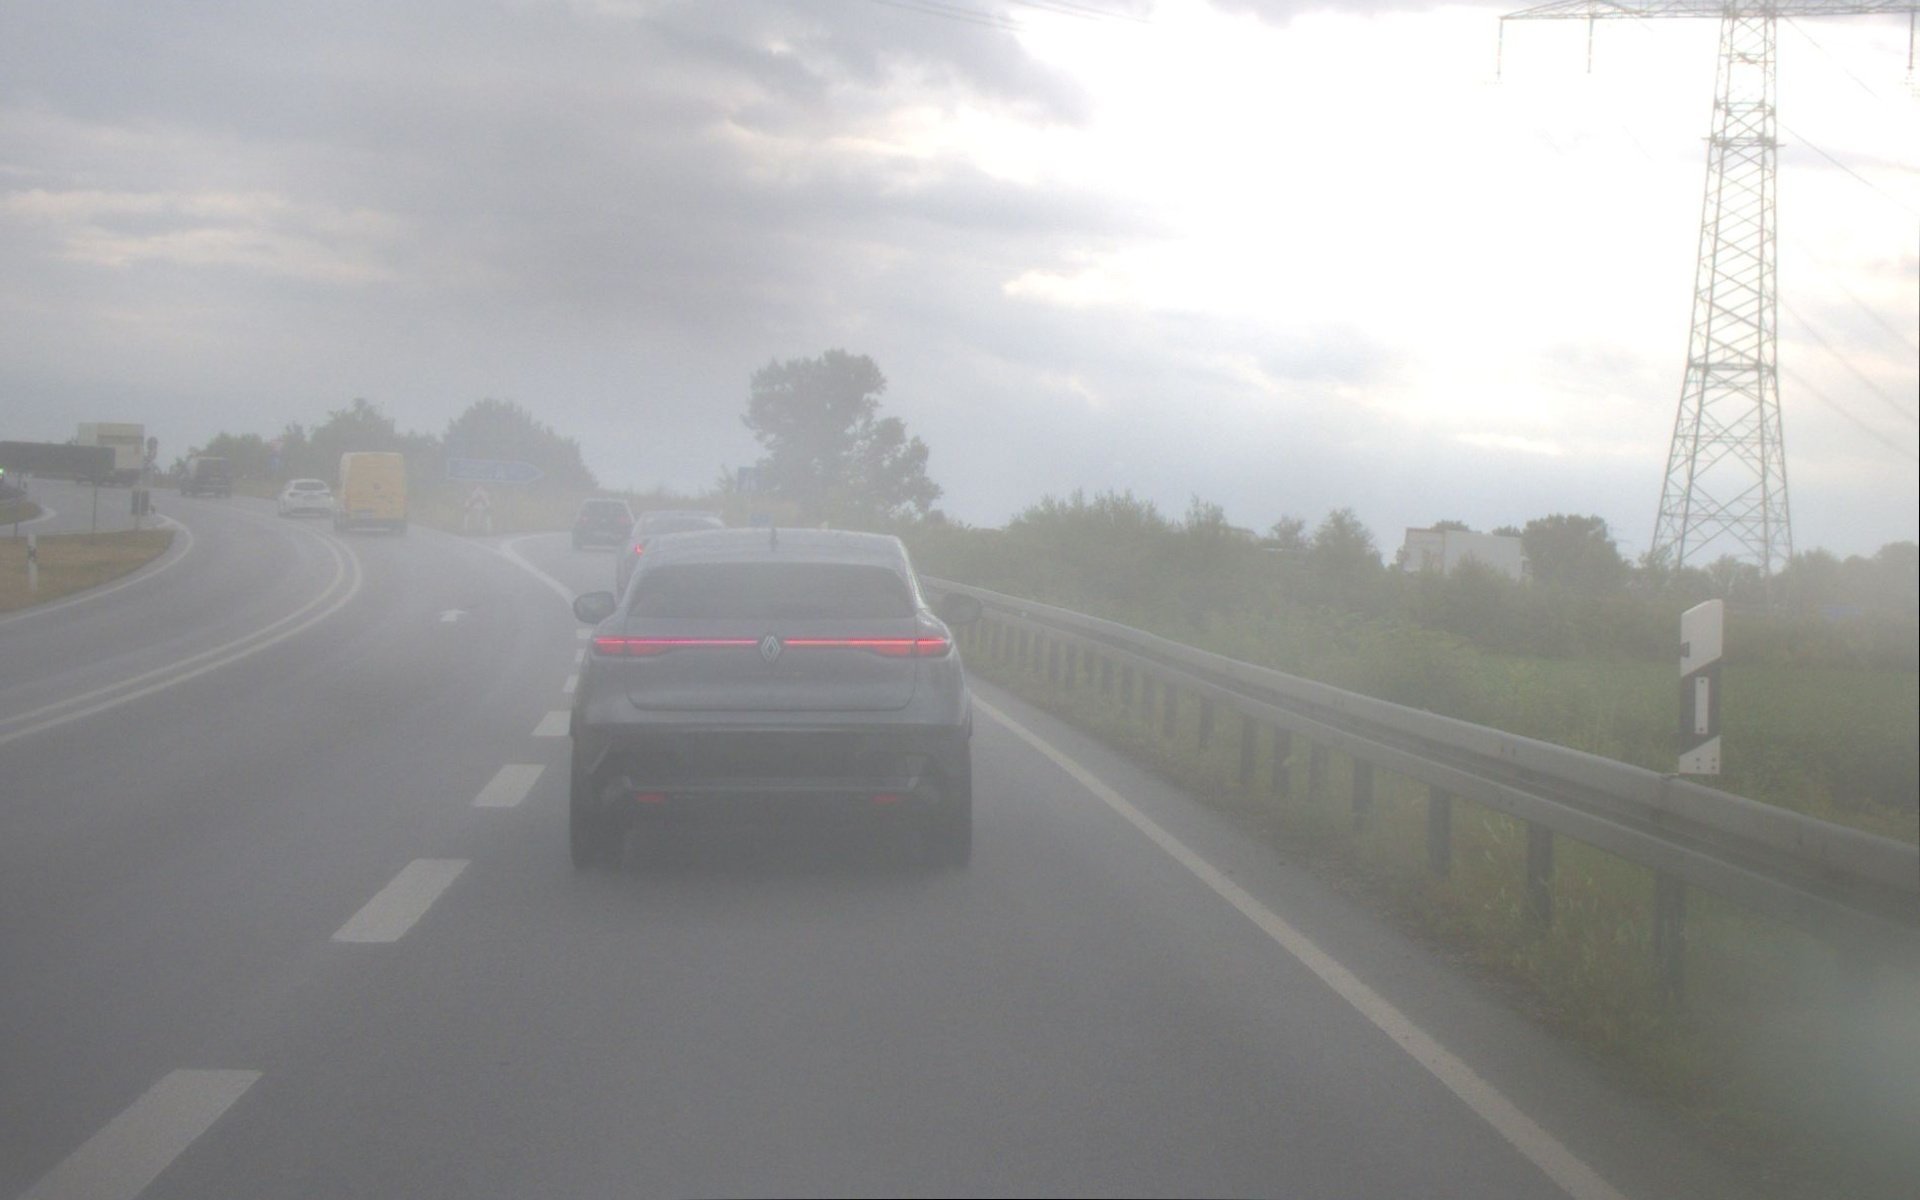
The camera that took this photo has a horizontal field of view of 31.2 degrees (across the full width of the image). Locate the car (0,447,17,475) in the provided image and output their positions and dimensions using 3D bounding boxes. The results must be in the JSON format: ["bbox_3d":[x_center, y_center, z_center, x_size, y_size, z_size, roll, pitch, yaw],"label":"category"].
[{"bbox_3d":[-52.452,-7.532,187.007,1.744,1.361,4.051,-3,1,-22],"label":"car"}]

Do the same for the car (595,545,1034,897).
[{"bbox_3d":[-0.682,0.472,16.175,1.791,1.436,4.000,1,1,-2],"label":"car"}]

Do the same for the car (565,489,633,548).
[{"bbox_3d":[-10.004,-2.244,95.145,1.791,1.536,4.001,0,0,-7],"label":"car"}]

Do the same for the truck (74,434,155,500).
[{"bbox_3d":[-47.375,-7.421,192.523,3.045,3.373,7.646,1,0,-24],"label":"truck"}]

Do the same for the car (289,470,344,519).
[{"bbox_3d":[-24.212,-3.944,129.209,1.791,1.682,4.001,1,0,-14],"label":"car"}]

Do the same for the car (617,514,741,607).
[{"bbox_3d":[-4.672,-0.678,56.794,1.791,1.436,4.001,1,1,-8],"label":"car"}]

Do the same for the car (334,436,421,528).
[{"bbox_3d":[-18.427,-3.681,108.534,2.572,2.716,7.198,-1,1,-10],"label":"car"}]

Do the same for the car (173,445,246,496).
[{"bbox_3d":[-36.507,-6.290,167.175,2.601,2.243,5.536,1,0,-21],"label":"car"}]
